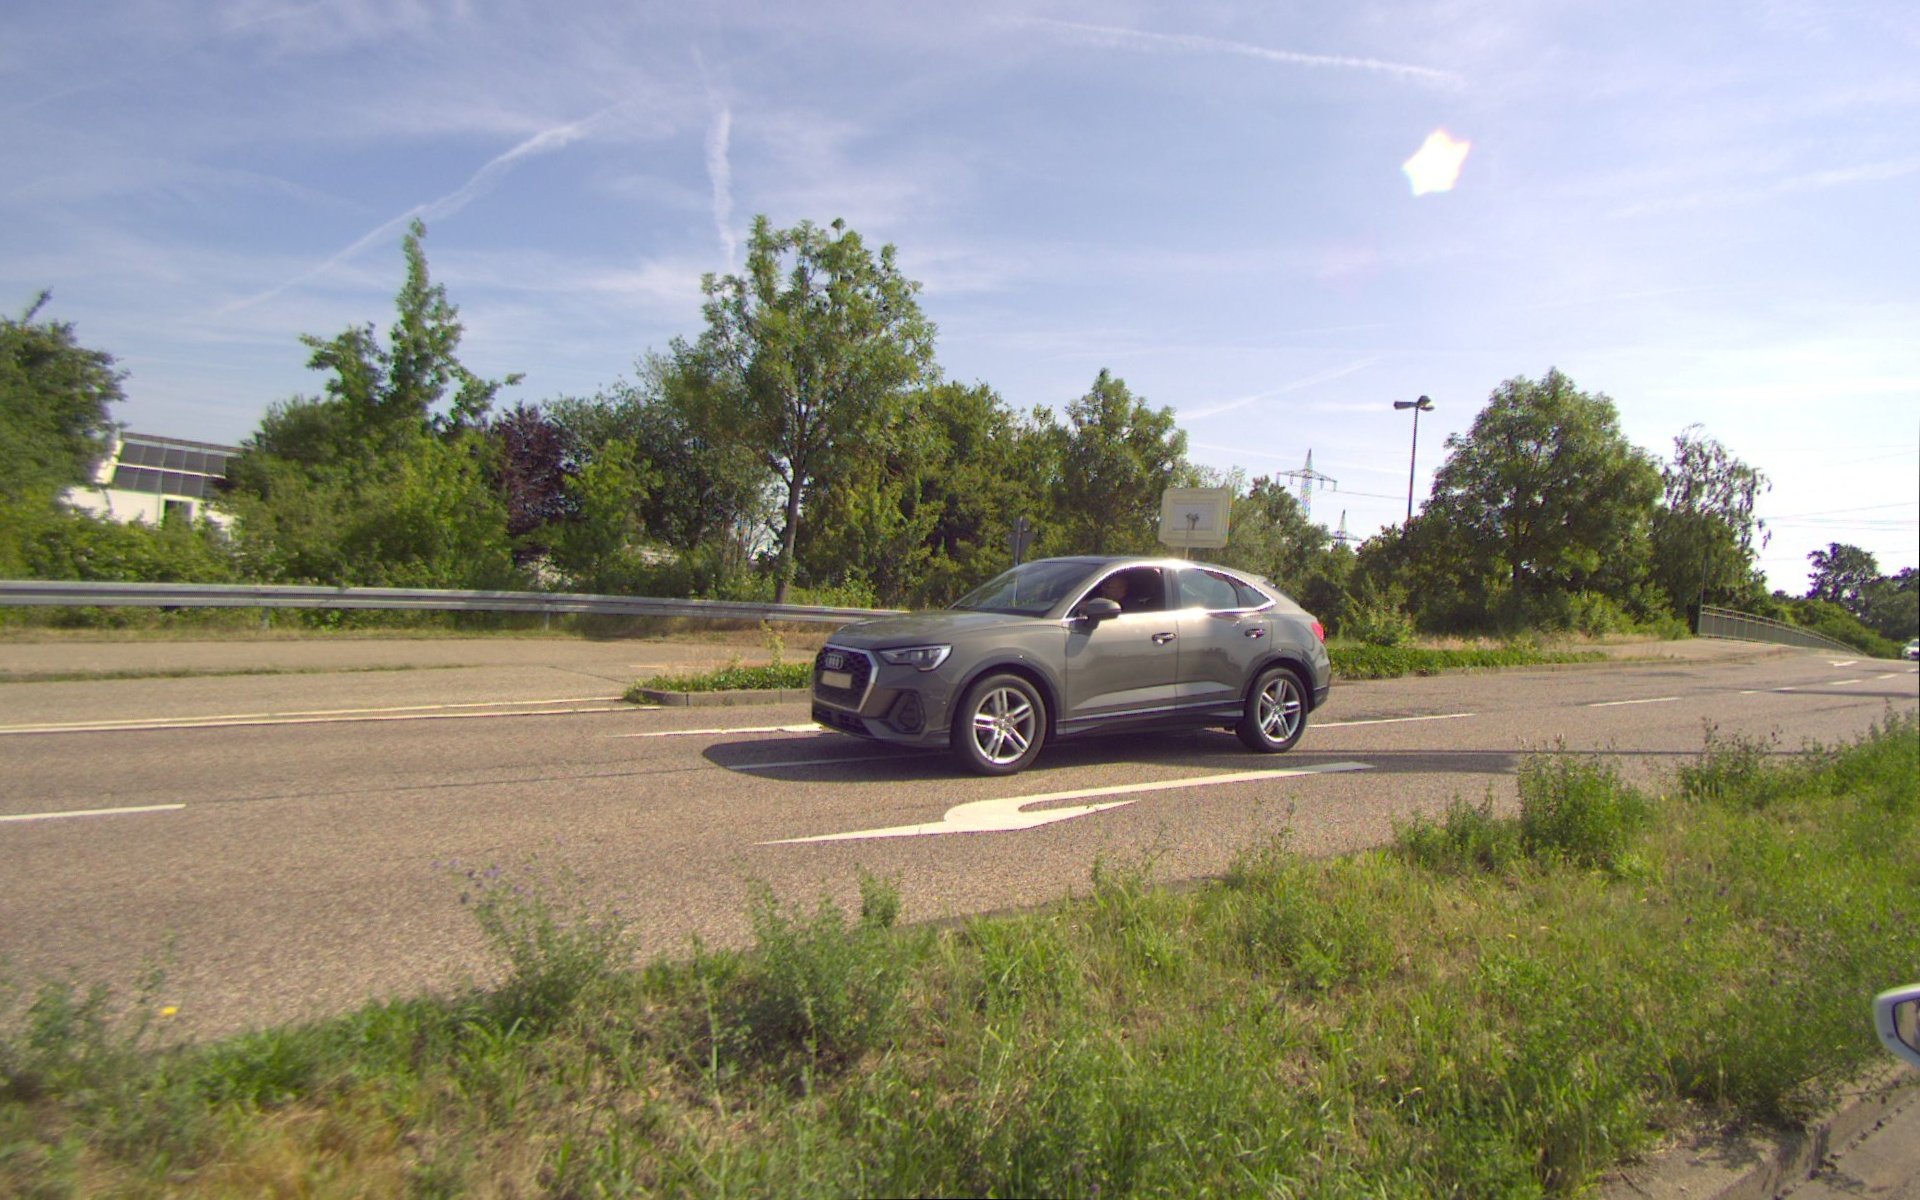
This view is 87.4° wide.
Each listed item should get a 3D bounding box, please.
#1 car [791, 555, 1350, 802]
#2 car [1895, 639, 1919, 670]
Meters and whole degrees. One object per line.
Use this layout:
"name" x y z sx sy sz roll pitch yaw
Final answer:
"car" 0.967 0.496 7.969 4.211 1.505 1.774 1 0 -32
"car" 52.115 2.974 54.320 3.969 1.571 1.781 3 0 -41
